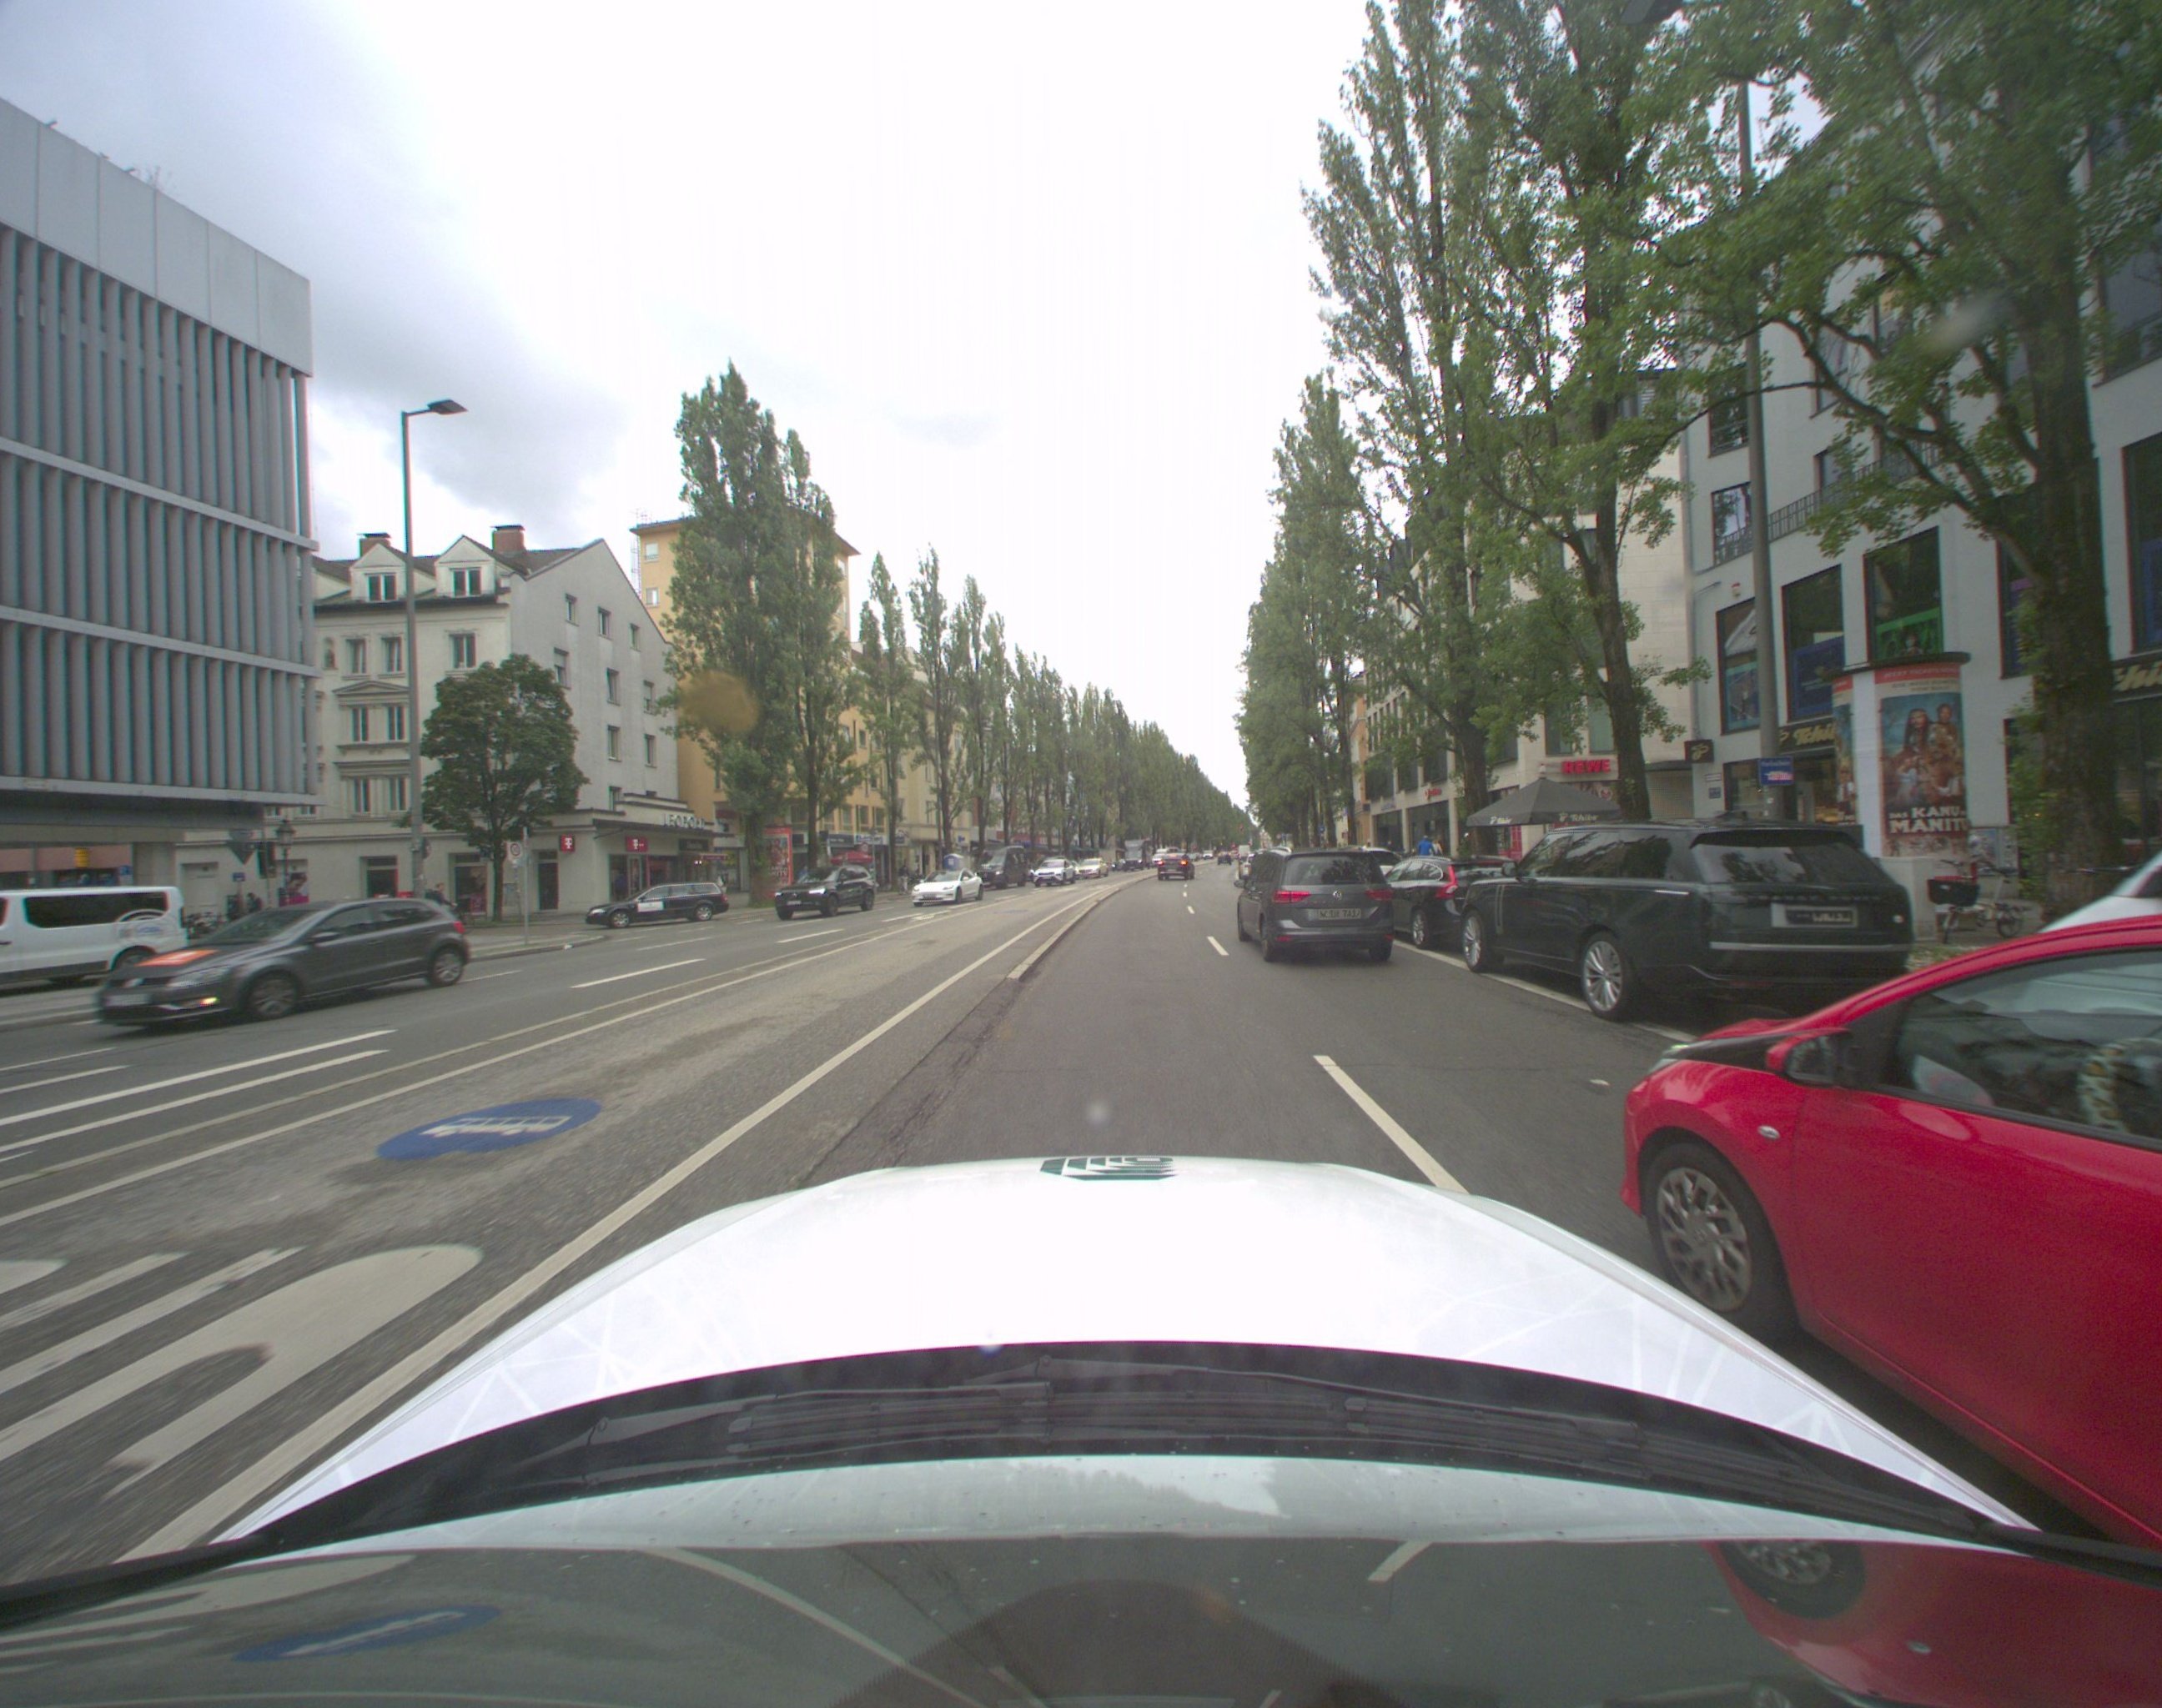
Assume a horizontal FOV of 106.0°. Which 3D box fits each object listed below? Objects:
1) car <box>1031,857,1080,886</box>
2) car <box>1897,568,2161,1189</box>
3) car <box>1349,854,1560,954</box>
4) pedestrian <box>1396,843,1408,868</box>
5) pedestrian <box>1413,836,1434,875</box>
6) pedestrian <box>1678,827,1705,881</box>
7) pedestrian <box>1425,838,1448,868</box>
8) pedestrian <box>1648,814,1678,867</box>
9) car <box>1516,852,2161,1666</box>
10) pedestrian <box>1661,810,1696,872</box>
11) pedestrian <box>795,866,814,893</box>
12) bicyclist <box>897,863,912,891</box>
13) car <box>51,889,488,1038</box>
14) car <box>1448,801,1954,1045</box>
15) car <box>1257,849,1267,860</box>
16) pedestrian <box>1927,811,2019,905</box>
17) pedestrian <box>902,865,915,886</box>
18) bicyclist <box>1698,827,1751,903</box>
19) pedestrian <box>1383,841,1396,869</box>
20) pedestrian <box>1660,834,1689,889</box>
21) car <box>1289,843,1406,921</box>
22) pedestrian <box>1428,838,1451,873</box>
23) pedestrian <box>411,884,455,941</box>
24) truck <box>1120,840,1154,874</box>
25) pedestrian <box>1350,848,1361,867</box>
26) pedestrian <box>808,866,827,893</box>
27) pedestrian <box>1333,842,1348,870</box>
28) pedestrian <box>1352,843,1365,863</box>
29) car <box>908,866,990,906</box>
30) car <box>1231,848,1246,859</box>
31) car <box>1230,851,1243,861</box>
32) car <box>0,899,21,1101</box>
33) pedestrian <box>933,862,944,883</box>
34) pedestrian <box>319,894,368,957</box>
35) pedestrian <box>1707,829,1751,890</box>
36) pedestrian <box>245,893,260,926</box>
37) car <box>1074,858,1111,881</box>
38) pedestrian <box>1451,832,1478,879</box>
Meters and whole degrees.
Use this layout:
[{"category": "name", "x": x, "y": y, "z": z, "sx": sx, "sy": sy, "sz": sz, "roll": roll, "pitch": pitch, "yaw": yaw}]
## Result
[{"category": "car", "x": -1.549, "y": 1.036, "z": 50.665, "sx": 1.896, "sy": 1.603, "sz": 4.371, "roll": -3, "pitch": 0, "yaw": 13}, {"category": "car", "x": 5.701, "y": 0.078, "z": 1.964, "sx": 1.986, "sy": 2.741, "sz": 5.557, "roll": -1, "pitch": -1, "yaw": 2}, {"category": "car", "x": 6.175, "y": 0.727, "z": 14.109, "sx": 1.764, "sy": 1.433, "sz": 4.575, "roll": 0, "pitch": 0, "yaw": 3}, {"category": "pedestrian", "x": 19.085, "y": 0.089, "z": 48.455, "sx": 0.497, "sy": 1.491, "sz": 0.551, "roll": -3, "pitch": -1, "yaw": 38}, {"category": "pedestrian", "x": 14.698, "y": 0.052, "z": 34.980, "sx": 0.607, "sy": 1.619, "sz": 0.796, "roll": -3, "pitch": -1, "yaw": 10}, {"category": "pedestrian", "x": 18.594, "y": -0.004, "z": 24.805, "sx": 0.552, "sy": 1.624, "sz": 0.501, "roll": 0, "pitch": -2, "yaw": -40}, {"category": "pedestrian", "x": 19.536, "y": -0.039, "z": 44.778, "sx": 0.794, "sy": 1.621, "sz": 0.715, "roll": -3, "pitch": -1, "yaw": -11}, {"category": "pedestrian", "x": 18.245, "y": -0.425, "z": 25.531, "sx": 0.550, "sy": 1.624, "sz": 0.503, "roll": 0, "pitch": -1, "yaw": -25}, {"category": "car", "x": 2.749, "y": 0.715, "z": 1.825, "sx": 1.659, "sy": 1.446, "sz": 3.596, "roll": -1, "pitch": -1, "yaw": 1}, {"category": "pedestrian", "x": 16.138, "y": -0.348, "z": 21.996, "sx": 0.488, "sy": 1.634, "sz": 0.570, "roll": -3, "pitch": -1, "yaw": 7}, {"category": "pedestrian", "x": -17.312, "y": 1.600, "z": 51.037, "sx": 0.834, "sy": 1.625, "sz": 0.766, "roll": -1, "pitch": -1, "yaw": 11}, {"category": "bicyclist", "x": -10.373, "y": 1.350, "z": 47.902, "sx": 0.499, "sy": 1.592, "sz": 0.837, "roll": -3, "pitch": 0, "yaw": 13}, {"category": "car", "x": -10.738, "y": 1.342, "z": 11.289, "sx": 1.775, "sy": 1.466, "sz": 4.006, "roll": -3, "pitch": 0, "yaw": 6}, {"category": "car", "x": 5.697, "y": 0.535, "z": 8.484, "sx": 1.920, "sy": 1.805, "sz": 4.786, "roll": -1, "pitch": 0, "yaw": 5}, {"category": "car", "x": 33.587, "y": 0.077, "z": 151.054, "sx": 1.792, "sy": 1.992, "sz": 4.014, "roll": -1, "pitch": -1, "yaw": 13}, {"category": "pedestrian", "x": 15.472, "y": 0.066, "z": 14.145, "sx": 0.679, "sy": 1.558, "sz": 0.751, "roll": -3, "pitch": -1, "yaw": 2}, {"category": "pedestrian", "x": -13.524, "y": 1.695, "z": 63.897, "sx": 0.629, "sy": 1.561, "sz": 0.819, "roll": -3, "pitch": 0, "yaw": 14}, {"category": "bicyclist", "x": 12.645, "y": 0.217, "z": 16.005, "sx": 0.636, "sy": 1.448, "sz": 0.441, "roll": -2, "pitch": -1, "yaw": 4}, {"category": "pedestrian", "x": 18.400, "y": 0.037, "z": 48.619, "sx": 0.544, "sy": 1.638, "sz": 0.562, "roll": -3, "pitch": -1, "yaw": 36}, {"category": "pedestrian", "x": 17.878, "y": 0.222, "z": 24.525, "sx": 0.543, "sy": 1.624, "sz": 0.510, "roll": -1, "pitch": -1, "yaw": 18}, {"category": "car", "x": 6.492, "y": 0.628, "z": 20.318, "sx": 1.719, "sy": 1.686, "sz": 4.413, "roll": -1, "pitch": 0, "yaw": 4}, {"category": "pedestrian", "x": 18.971, "y": 0.091, "z": 43.120, "sx": 0.794, "sy": 1.772, "sz": 0.679, "roll": -3, "pitch": -1, "yaw": -11}, {"category": "pedestrian", "x": -22.585, "y": 2.020, "z": 28.388, "sx": 0.849, "sy": 1.899, "sz": 0.838, "roll": -3, "pitch": -1, "yaw": 25}, {"category": "truck", "x": 5.837, "y": 0.275, "z": 84.277, "sx": 2.275, "sy": 3.323, "sz": 7.182, "roll": -4, "pitch": -1, "yaw": 13}, {"category": "pedestrian", "x": 23.746, "y": 0.274, "z": 70.488, "sx": 0.723, "sy": 1.626, "sz": 0.809, "roll": -3, "pitch": -1, "yaw": 23}, {"category": "pedestrian", "x": -16.428, "y": 1.584, "z": 50.831, "sx": 0.834, "sy": 1.625, "sz": 0.766, "roll": -1, "pitch": -1, "yaw": 11}, {"category": "pedestrian", "x": 17.933, "y": 0.109, "z": 56.317, "sx": 0.812, "sy": 1.869, "sz": 0.941, "roll": -3, "pitch": -1, "yaw": 9}, {"category": "pedestrian", "x": 21.880, "y": -0.069, "z": 64.289, "sx": 0.605, "sy": 1.551, "sz": 0.711, "roll": -3, "pitch": -1, "yaw": -15}, {"category": "car", "x": -5.335, "y": 1.261, "z": 33.542, "sx": 1.788, "sy": 1.394, "sz": 4.704, "roll": -3, "pitch": 0, "yaw": 11}, {"category": "car", "x": 25.897, "y": -0.081, "z": 133.986, "sx": 1.979, "sy": 1.717, "sz": 4.016, "roll": -3, "pitch": 0, "yaw": 15}, {"category": "car", "x": 29.153, "y": 0.303, "z": 152.252, "sx": 1.979, "sy": 1.717, "sz": 4.016, "roll": -3, "pitch": 0, "yaw": 15}, {"category": "car", "x": -9.768, "y": 1.198, "z": 4.669, "sx": 1.943, "sy": 1.589, "sz": 4.008, "roll": -3, "pitch": 0, "yaw": 7}, {"category": "pedestrian", "x": -12.002, "y": 1.531, "z": 68.606, "sx": 0.535, "sy": 1.747, "sz": 0.758, "roll": -2, "pitch": 0, "yaw": 13}, {"category": "pedestrian", "x": -18.257, "y": 1.761, "z": 20.170, "sx": 0.543, "sy": 1.495, "sz": 0.656, "roll": -3, "pitch": -1, "yaw": 4}, {"category": "pedestrian", "x": 17.106, "y": 0.153, "z": 21.511, "sx": 0.565, "sy": 1.576, "sz": 0.672, "roll": -2, "pitch": -1, "yaw": -23}, {"category": "pedestrian", "x": -38.708, "y": 2.596, "z": 38.036, "sx": 0.308, "sy": 1.513, "sz": 0.350, "roll": -2, "pitch": -1, "yaw": 4}, {"category": "car", "x": 0.960, "y": 1.179, "z": 63.561, "sx": 1.981, "sy": 1.589, "sz": 5.210, "roll": -4, "pitch": -1, "yaw": 10}, {"category": "pedestrian", "x": 16.214, "y": 0.068, "z": 34.413, "sx": 0.643, "sy": 1.924, "sz": 0.927, "roll": -3, "pitch": -1, "yaw": 5}]
